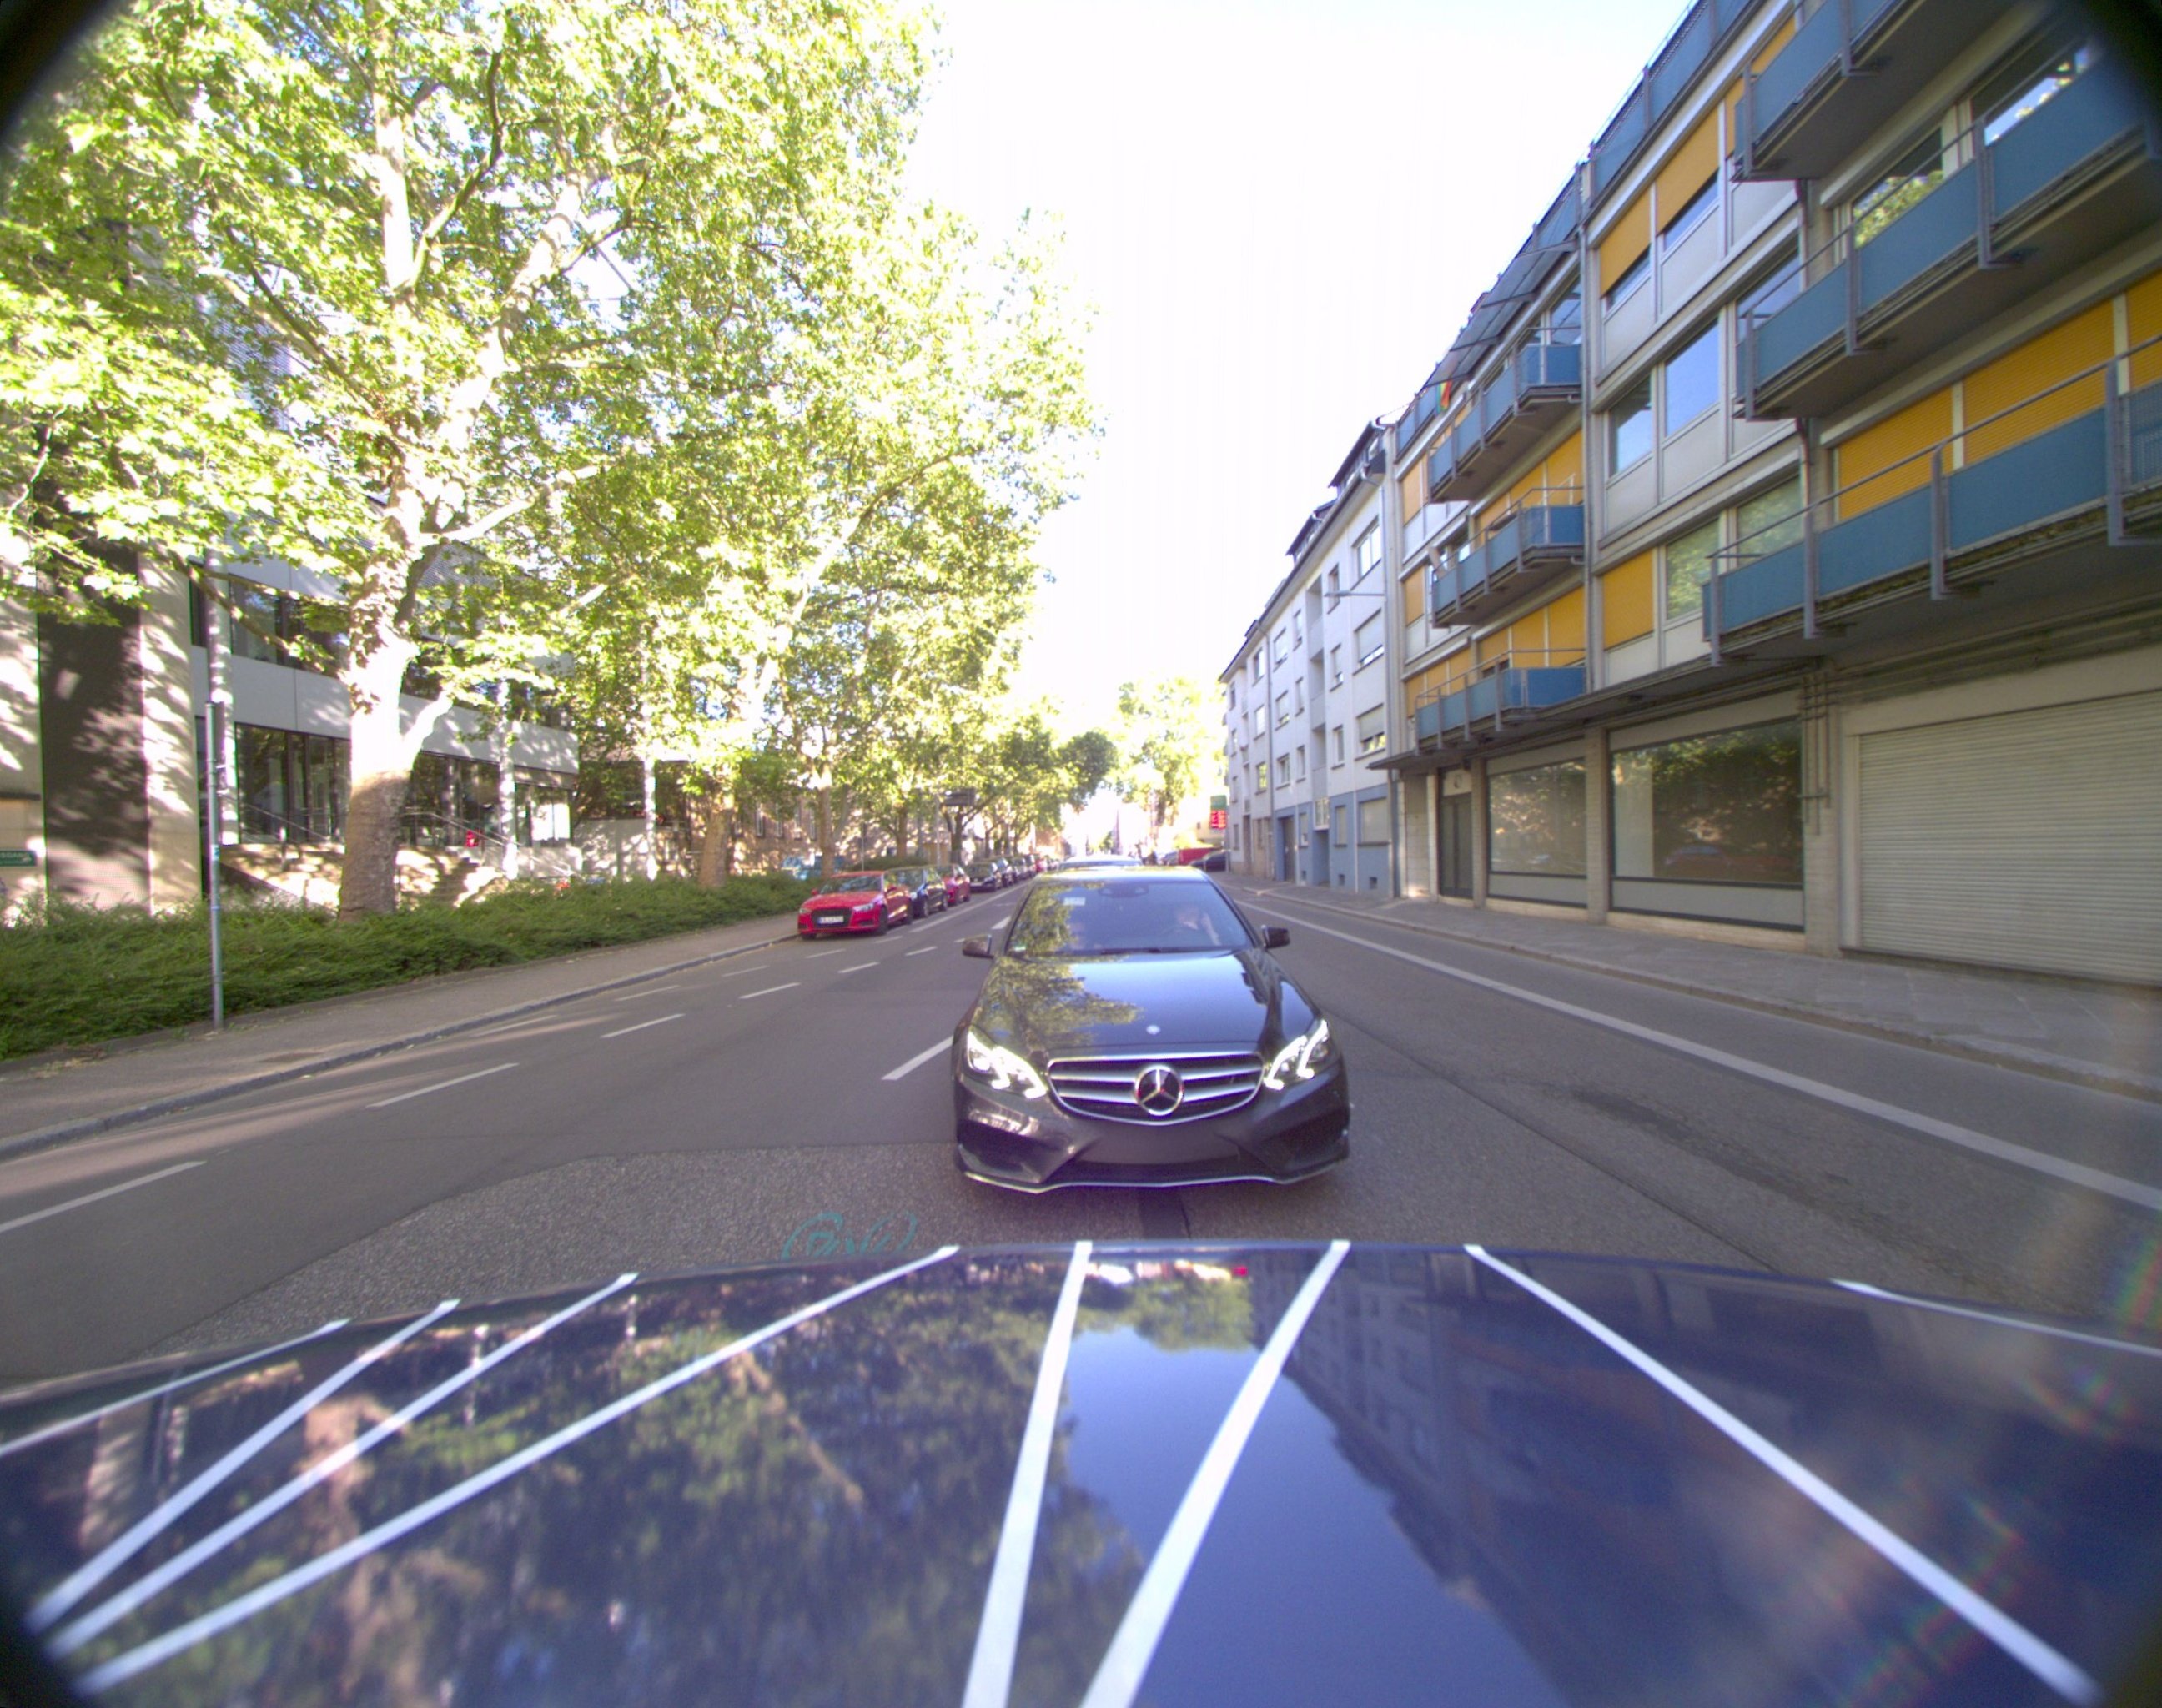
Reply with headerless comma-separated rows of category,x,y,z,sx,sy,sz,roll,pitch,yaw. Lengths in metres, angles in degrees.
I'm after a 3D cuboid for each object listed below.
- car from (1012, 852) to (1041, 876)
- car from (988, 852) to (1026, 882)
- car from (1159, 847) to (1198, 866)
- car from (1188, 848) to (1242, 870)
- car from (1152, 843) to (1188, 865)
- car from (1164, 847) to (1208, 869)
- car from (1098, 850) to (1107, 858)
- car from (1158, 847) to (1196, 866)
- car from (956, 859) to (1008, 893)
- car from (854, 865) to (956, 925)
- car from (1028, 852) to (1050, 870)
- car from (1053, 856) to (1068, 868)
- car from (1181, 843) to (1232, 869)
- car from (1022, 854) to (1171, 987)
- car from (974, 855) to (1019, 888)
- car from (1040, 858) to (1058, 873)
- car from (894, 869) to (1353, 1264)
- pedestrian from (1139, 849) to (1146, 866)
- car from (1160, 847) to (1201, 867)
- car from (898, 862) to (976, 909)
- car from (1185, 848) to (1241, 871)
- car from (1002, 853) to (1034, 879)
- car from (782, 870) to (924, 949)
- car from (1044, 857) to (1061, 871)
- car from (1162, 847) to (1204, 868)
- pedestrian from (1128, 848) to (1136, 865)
car,-4.243,0.750,59.758,1.866,1.749,4.481,-2,0,1
car,-4.630,0.779,48.136,1.866,1.749,4.481,-2,0,1
car,10.593,0.268,82.488,3.996,1.936,2.000,-2,1,2
car,10.718,0.372,61.195,3.996,1.543,2.000,-2,1,2
car,10.492,-0.004,89.510,3.996,2.505,2.000,-2,1,2
car,10.251,0.372,74.508,3.996,1.936,2.000,-2,1,2
car,4.873,-0.010,174.367,1.866,1.632,4.481,-2,0,1
car,10.738,0.235,84.982,3.996,1.936,2.000,-2,1,2
car,-4.753,1.021,37.175,1.866,1.442,4.481,-2,0,1
car,-5.041,1.122,22.384,1.866,1.442,4.481,-2,0,1
car,-4.196,0.697,76.281,1.866,1.632,4.481,-2,0,1
car,-2.820,1.101,105.193,1.866,1.632,4.481,-2,0,1
car,10.551,0.150,64.027,3.996,1.936,2.000,-2,1,2
car,0.227,0.858,11.933,1.866,1.630,4.303,-2,0,1
car,-4.618,0.903,42.210,1.866,1.658,4.481,-2,0,1
car,-3.762,1.312,89.987,1.866,1.632,4.481,-2,0,1
car,0.207,0.934,5.410,1.866,1.492,4.481,-2,0,1
pedestrian,7.272,0.409,89.706,0.735,2.002,1.046,-2,1,-1
car,10.463,0.301,80.000,3.996,1.936,2.000,-2,1,2
car,-5.085,1.063,27.428,1.866,1.442,4.481,-2,0,1
car,10.177,0.419,58.873,3.996,1.543,2.000,-2,1,2
car,-4.500,0.813,54.803,1.866,1.749,4.481,-2,0,1
car,-5.101,1.176,17.734,1.866,1.442,4.481,-2,0,1
car,-3.652,1.227,96.786,1.866,1.632,4.481,-2,0,1
car,10.335,0.338,77.149,3.996,1.936,2.000,-2,1,2
pedestrian,6.022,0.276,89.848,0.735,2.002,0.797,-2,1,1
